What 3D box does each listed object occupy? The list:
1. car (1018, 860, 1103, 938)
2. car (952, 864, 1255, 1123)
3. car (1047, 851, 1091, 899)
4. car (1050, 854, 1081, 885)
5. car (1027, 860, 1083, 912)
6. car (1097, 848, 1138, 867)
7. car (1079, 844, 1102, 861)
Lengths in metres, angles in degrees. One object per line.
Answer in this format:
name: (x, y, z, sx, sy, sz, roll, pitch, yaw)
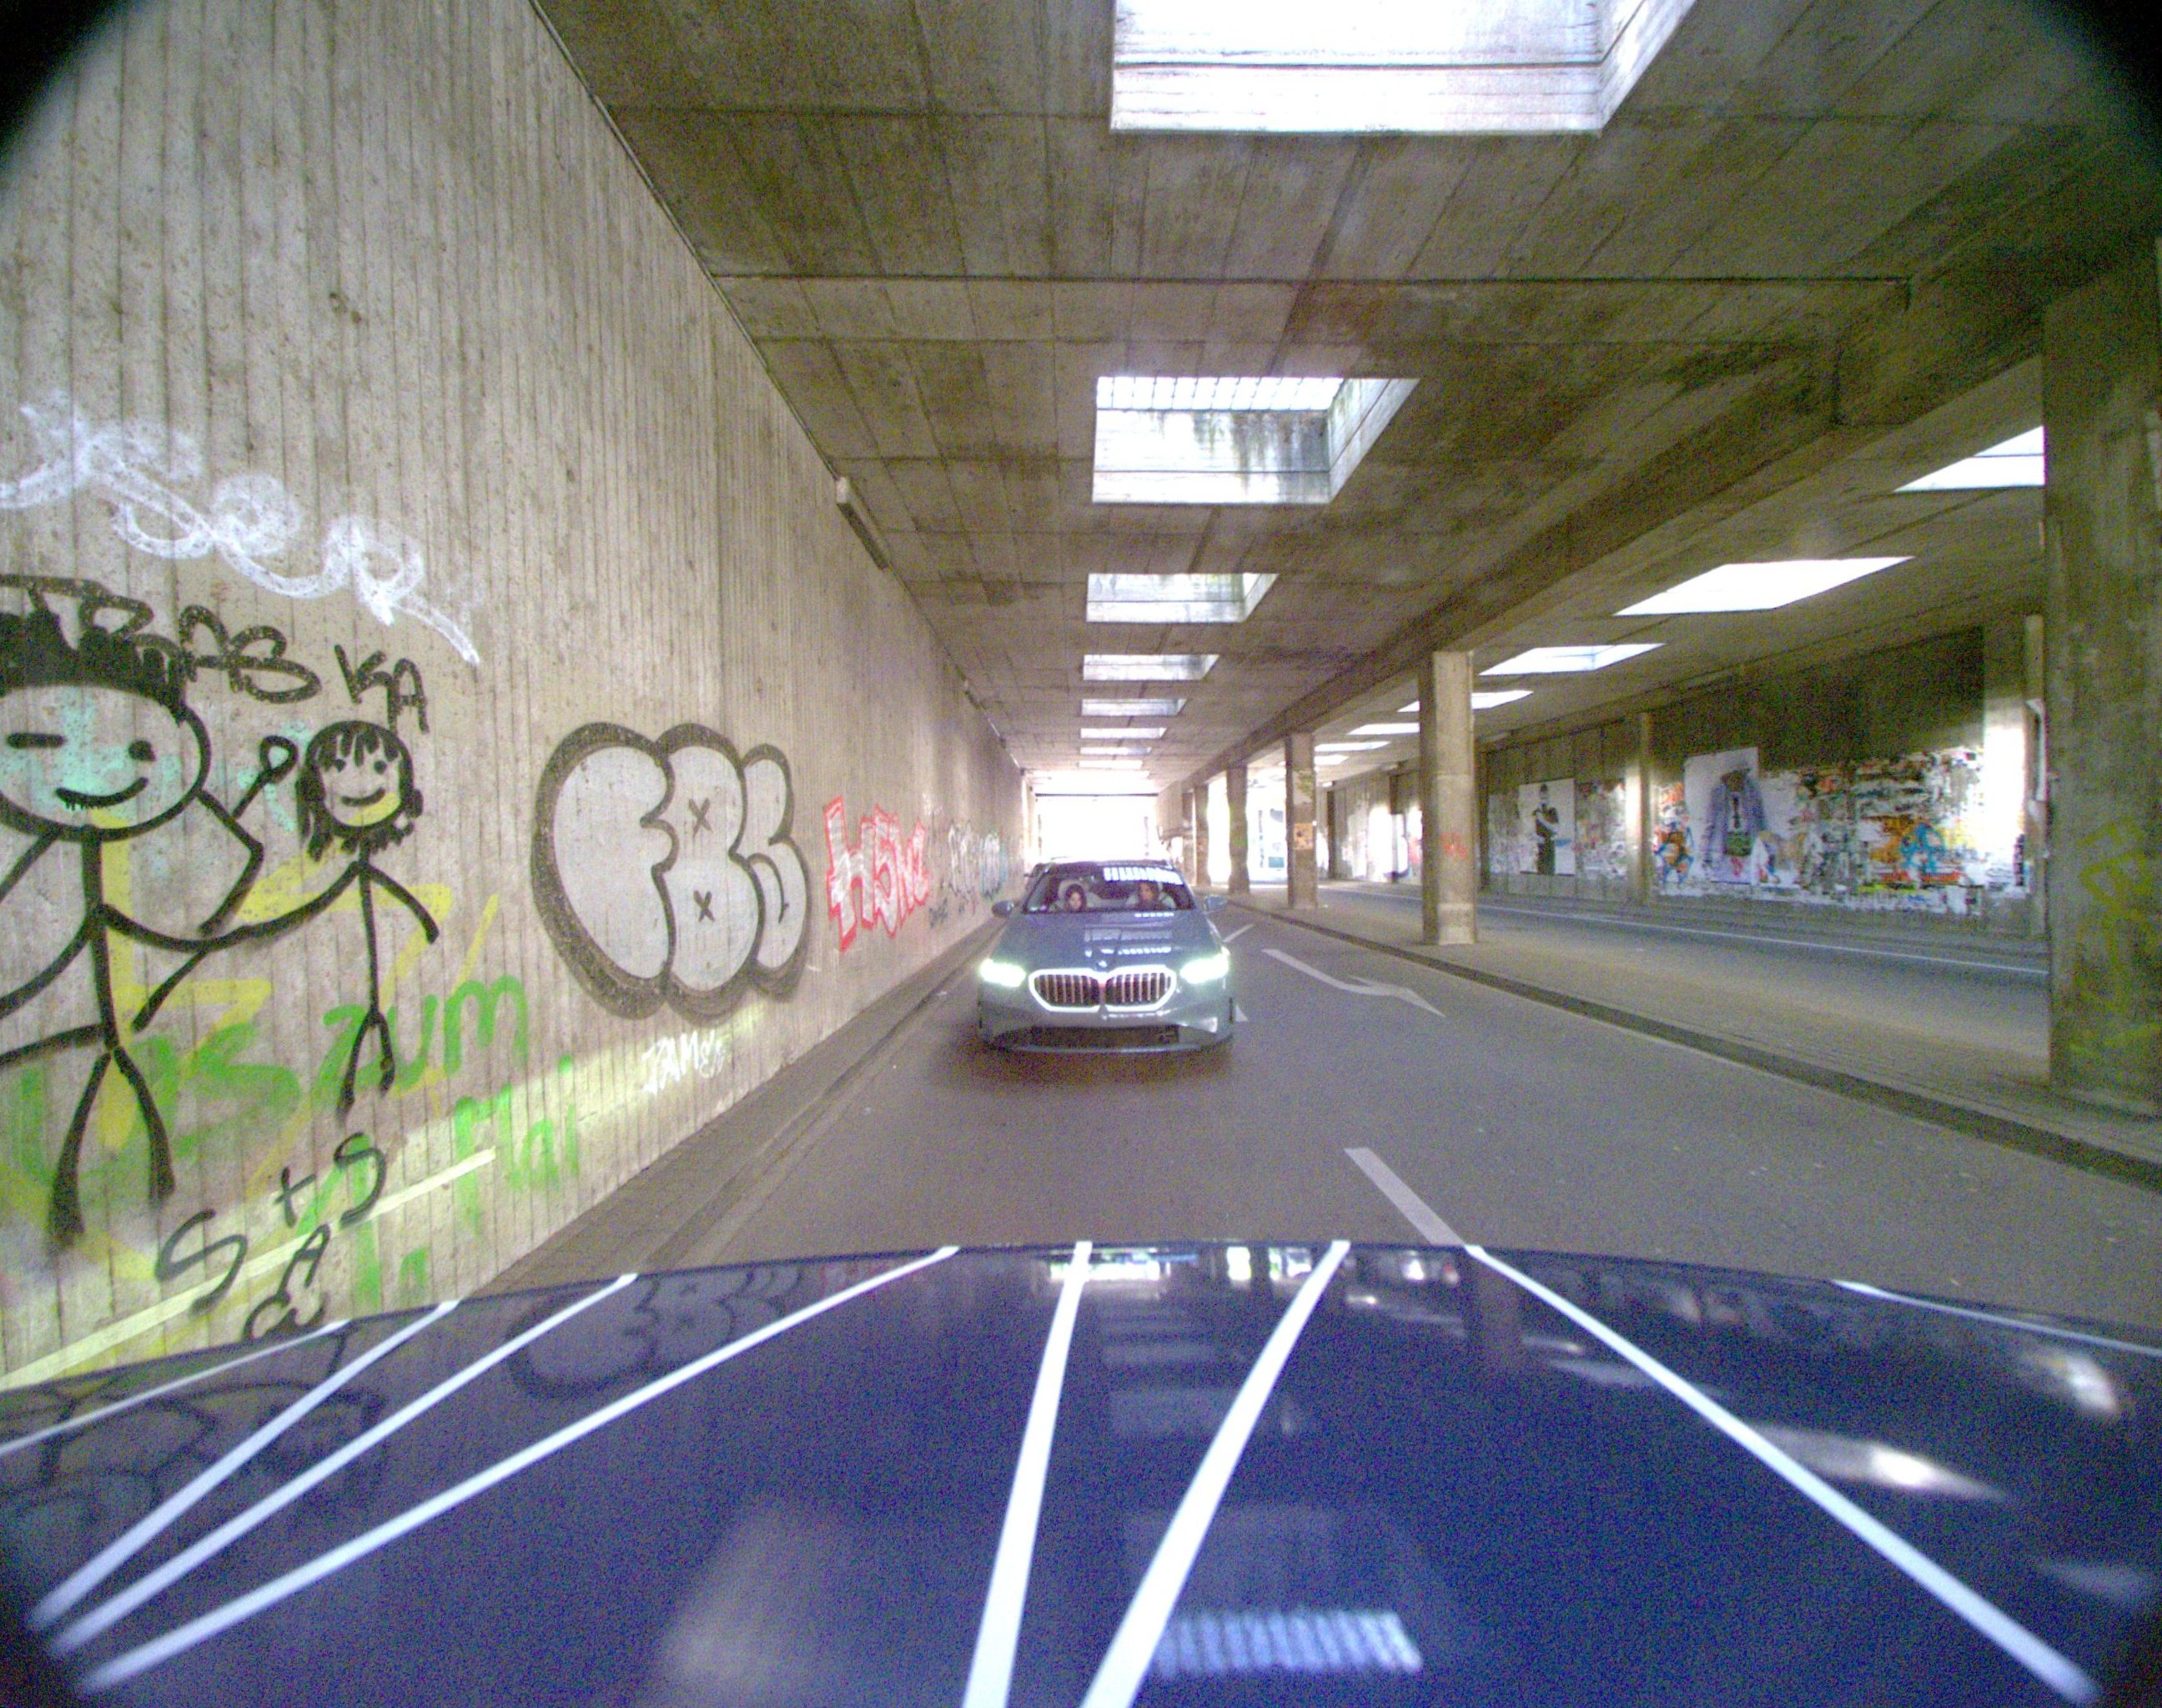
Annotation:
car: (-0.422, 0.926, 17.305, 1.679, 1.516, 3.969, -2, 0, 0)
car: (0.131, 0.910, 7.296, 1.861, 1.516, 5.042, -2, 0, 0)
car: (-0.459, 0.777, 29.938, 1.592, 1.711, 3.694, -2, 0, 0)
car: (-0.802, 0.812, 41.265, 1.592, 1.562, 3.694, -2, 0, 0)
car: (-0.758, 0.954, 23.931, 1.592, 1.432, 3.806, -2, 0, 0)
car: (3.492, 0.335, 73.006, 3.873, 1.597, 1.728, -3, 1, 1)
car: (1.288, -0.181, 103.677, 2.161, 2.150, 4.785, -2, 0, -12)
